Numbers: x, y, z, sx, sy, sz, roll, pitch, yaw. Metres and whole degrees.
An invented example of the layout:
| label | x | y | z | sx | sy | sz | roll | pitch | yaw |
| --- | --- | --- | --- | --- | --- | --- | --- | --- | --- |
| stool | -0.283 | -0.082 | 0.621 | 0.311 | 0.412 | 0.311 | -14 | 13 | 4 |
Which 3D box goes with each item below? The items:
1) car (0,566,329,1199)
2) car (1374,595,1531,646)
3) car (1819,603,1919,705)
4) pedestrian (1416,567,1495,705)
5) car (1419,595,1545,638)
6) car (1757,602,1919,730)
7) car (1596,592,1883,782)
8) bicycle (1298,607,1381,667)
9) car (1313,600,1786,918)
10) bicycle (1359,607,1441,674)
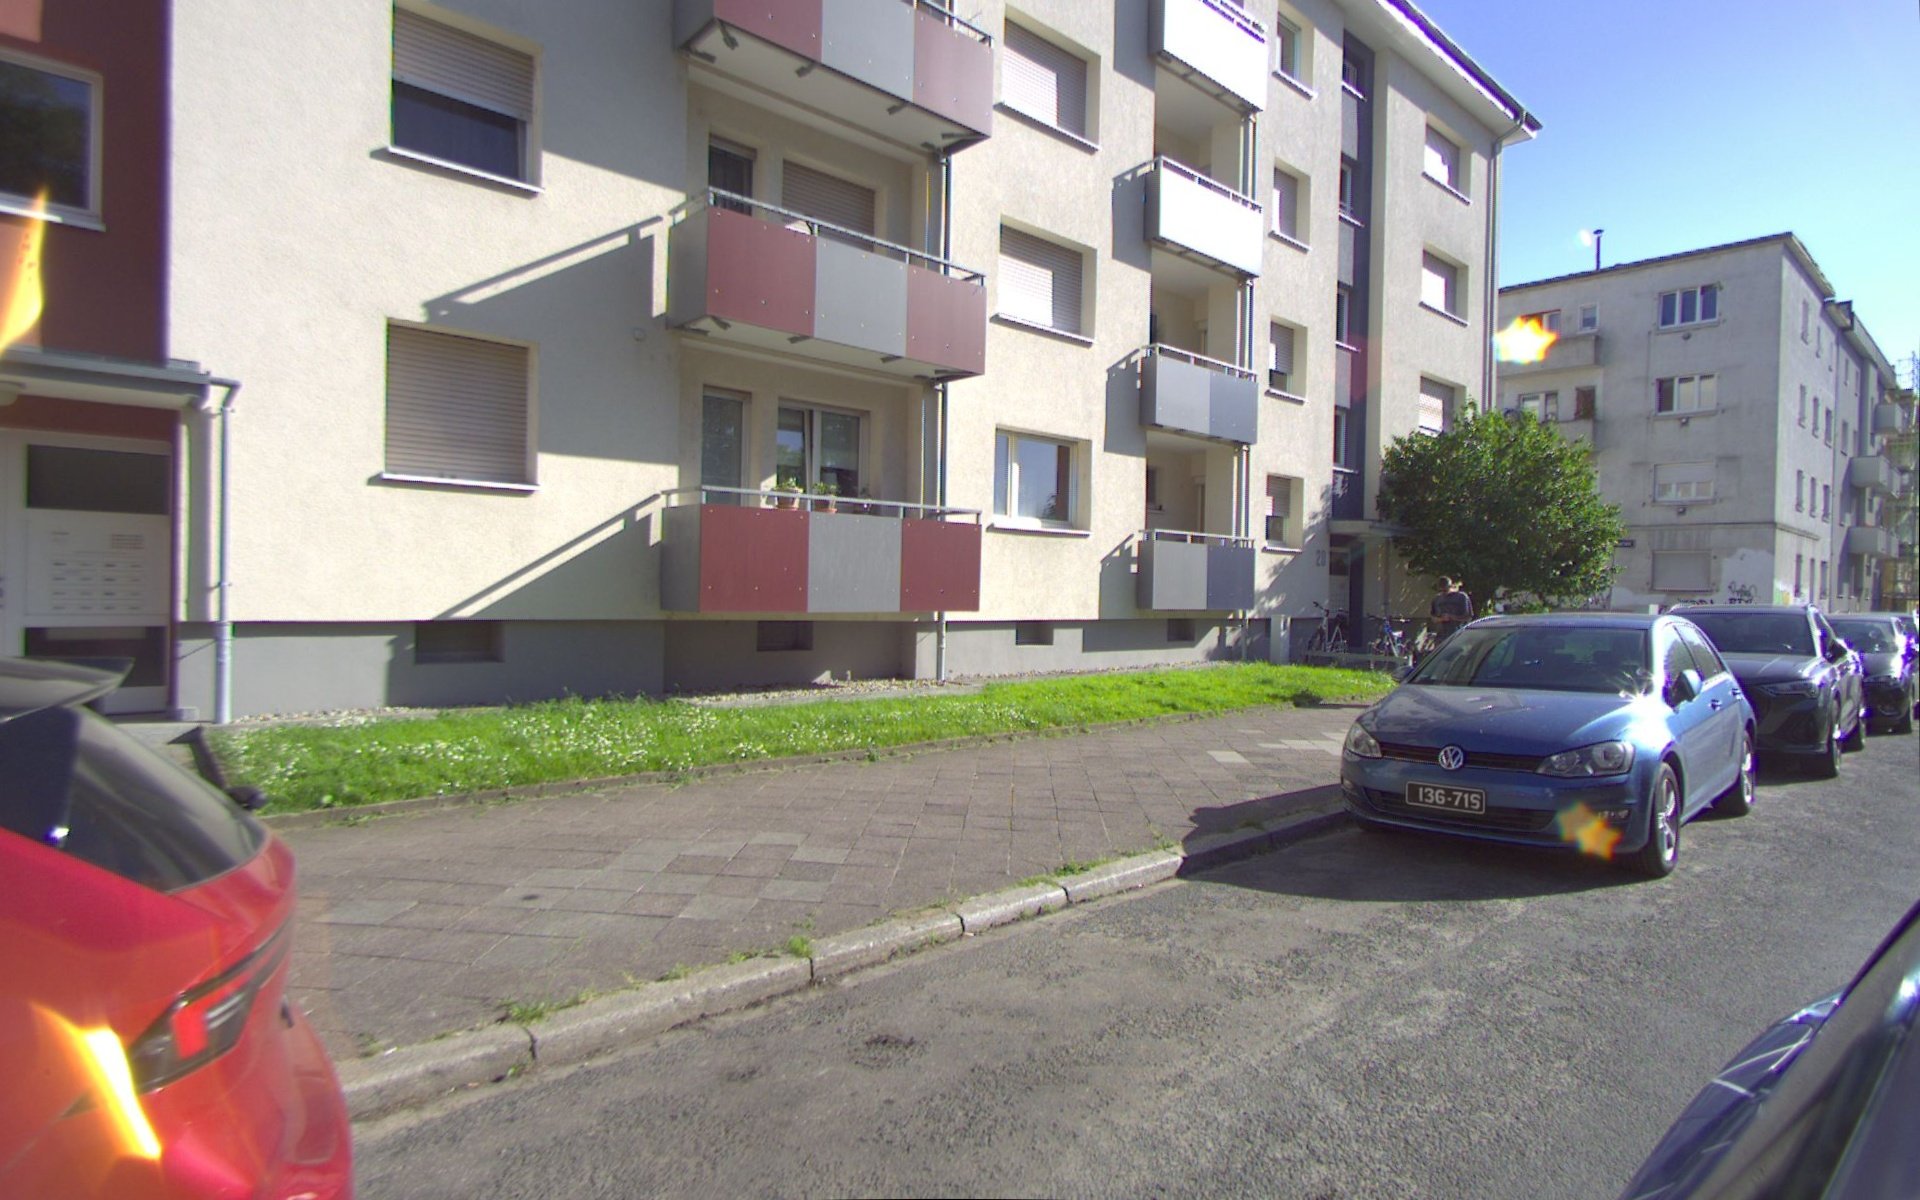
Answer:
| label | x | y | z | sx | sy | sz | roll | pitch | yaw |
| --- | --- | --- | --- | --- | --- | --- | --- | --- | --- |
| car | -3.065 | 0.706 | 0.553 | 4.442 | 1.462 | 1.756 | 0 | 0 | -40 |
| car | 15.342 | 0.612 | 31.672 | 1.772 | 1.433 | 4.041 | 4 | -2 | -42 |
| car | 16.523 | 0.863 | 17.885 | 4.017 | 1.568 | 1.619 | -1 | 1 | -43 |
| pedestrian | 6.709 | 0.467 | 13.700 | 0.825 | 1.794 | 0.647 | 0 | -1 | -38 |
| car | 18.724 | 0.576 | 36.408 | 1.662 | 1.477 | 3.716 | 2 | -1 | -40 |
| car | 12.305 | 0.790 | 13.869 | 3.733 | 1.503 | 1.606 | 0 | 0 | -43 |
| car | 8.227 | 0.719 | 10.536 | 4.185 | 1.579 | 1.753 | 0 | -1 | -44 |
| bicycle | 6.757 | 0.625 | 17.953 | 0.485 | 0.972 | 2.247 | 1 | 1 | 45 |
| car | 4.205 | 0.777 | 6.921 | 4.012 | 1.499 | 1.753 | 0 | -1 | -44 |
| bicycle | 7.434 | 0.650 | 17.047 | 0.485 | 1.024 | 2.247 | 1 | 1 | 45 |
